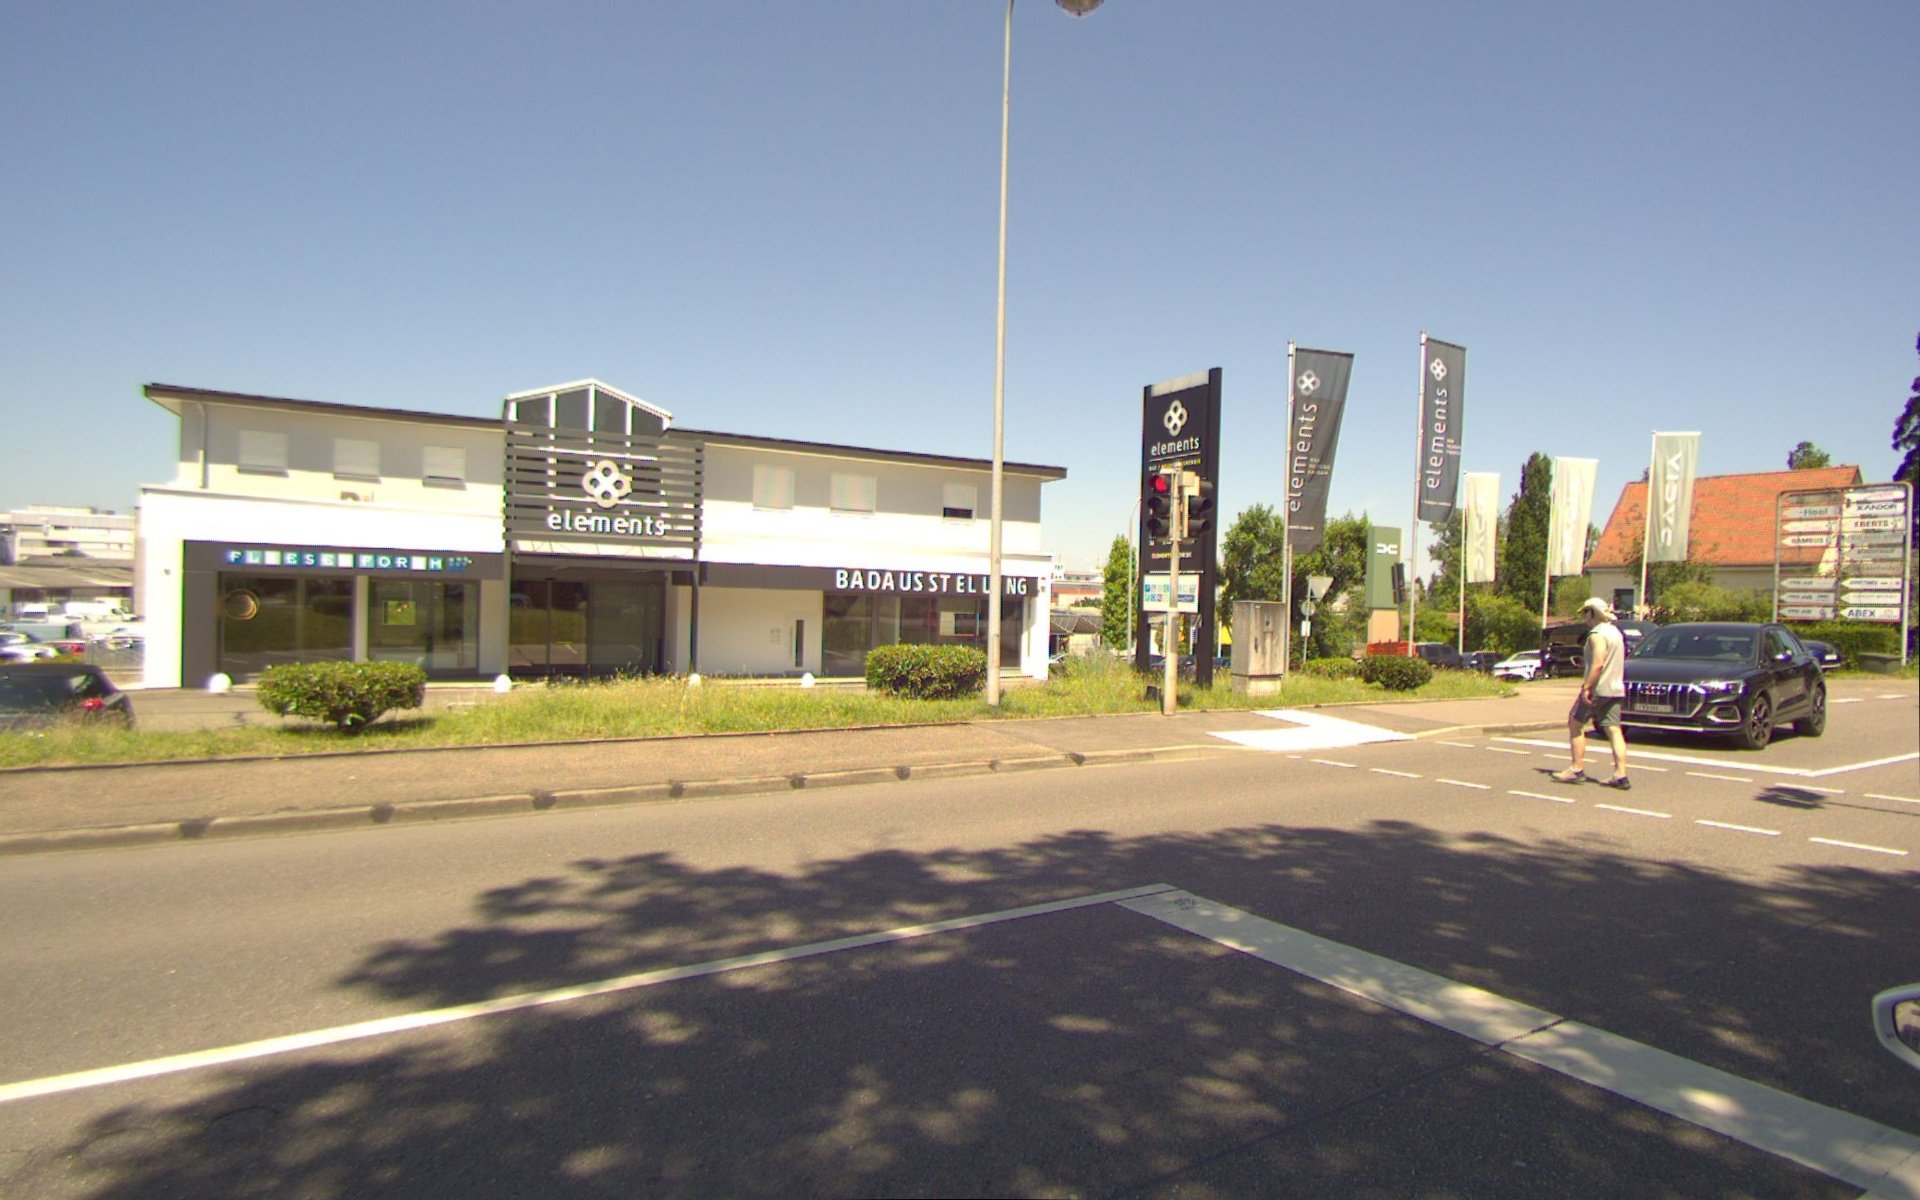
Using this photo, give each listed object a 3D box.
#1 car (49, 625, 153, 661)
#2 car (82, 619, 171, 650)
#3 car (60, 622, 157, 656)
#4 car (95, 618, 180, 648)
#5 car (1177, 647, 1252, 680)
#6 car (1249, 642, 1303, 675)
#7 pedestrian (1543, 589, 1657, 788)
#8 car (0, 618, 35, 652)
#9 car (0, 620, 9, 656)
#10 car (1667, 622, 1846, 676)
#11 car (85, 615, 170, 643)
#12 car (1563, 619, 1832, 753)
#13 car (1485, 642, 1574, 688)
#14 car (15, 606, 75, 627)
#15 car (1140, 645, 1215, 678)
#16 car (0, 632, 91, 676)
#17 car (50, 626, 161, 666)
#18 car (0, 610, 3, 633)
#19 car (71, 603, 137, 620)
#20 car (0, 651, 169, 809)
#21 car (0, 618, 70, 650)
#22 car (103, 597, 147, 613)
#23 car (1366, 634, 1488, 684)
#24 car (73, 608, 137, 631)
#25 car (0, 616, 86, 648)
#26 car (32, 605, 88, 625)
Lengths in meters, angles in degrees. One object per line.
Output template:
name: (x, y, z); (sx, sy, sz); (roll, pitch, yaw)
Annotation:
car: (-44.079, 2.199, 51.652); (3.726, 1.778, 1.719); (2, -1, -28)
car: (-49.428, 2.071, 59.678); (3.726, 1.778, 1.719); (2, -1, -28)
car: (-46.800, 2.130, 55.273); (3.726, 1.778, 1.719); (2, -1, -28)
car: (-50.661, 2.046, 61.978); (3.726, 1.778, 1.719); (2, -1, -28)
car: (12.136, 2.997, 47.737); (3.841, 1.434, 1.632); (2, -1, -43)
car: (18.650, 3.419, 59.141); (1.785, 1.744, 4.075); (2, 0, 36)
pedestrian: (5.957, 0.807, 9.376); (0.689, 1.785, 0.545); (1, 0, -4)
car: (-51.424, 1.825, 52.786); (3.726, 1.778, 1.719); (2, -1, -28)
car: (-49.204, 1.846, 48.963); (3.726, 1.778, 1.719); (2, -1, -28)
car: (24.954, 1.492, 31.645); (1.751, 1.524, 4.129); (1, -1, -20)
car: (-55.237, 1.925, 66.714); (4.004, 1.778, 1.719); (2, -1, -28)
car: (10.457, 1.103, 14.147); (4.263, 1.576, 1.912); (2, -1, -37)
car: (23.901, 2.679, 42.102); (4.053, 1.744, 1.795); (2, 0, -38)
car: (-84.574, 1.530, 92.925); (3.724, 1.778, 1.720); (1, 1, -26)
car: (10.891, 3.054, 50.237); (3.973, 1.506, 1.735); (2, -1, -44)
car: (-39.828, 2.284, 42.936); (3.726, 1.778, 1.719); (2, -1, -28)
car: (-40.913, 2.197, 48.192); (3.726, 1.778, 1.719); (2, -1, -28)
car: (-74.501, 1.613, 75.222); (3.726, 1.778, 1.719); (2, 0, -28)
car: (-95.786, 1.304, 112.512); (5.236, 1.778, 2.051); (2, -1, -28)
car: (-11.687, 1.503, 12.625); (1.746, 1.553, 4.076); (1, -1, -24)
car: (-53.378, 1.935, 57.132); (3.726, 1.778, 1.719); (2, -1, -28)
car: (-99.571, 0.621, 119.846); (3.726, 1.778, 1.719); (2, -1, -28)
car: (17.998, 2.269, 38.747); (4.022, 1.745, 1.808); (2, 0, -16)
car: (-71.020, 1.607, 83.471); (3.726, 1.778, 1.719); (1, 1, -28)
car: (-54.790, 1.908, 59.824); (3.726, 1.778, 1.719); (2, -1, -28)
car: (-87.899, 1.471, 98.177); (3.726, 1.778, 1.719); (1, 2, -28)
